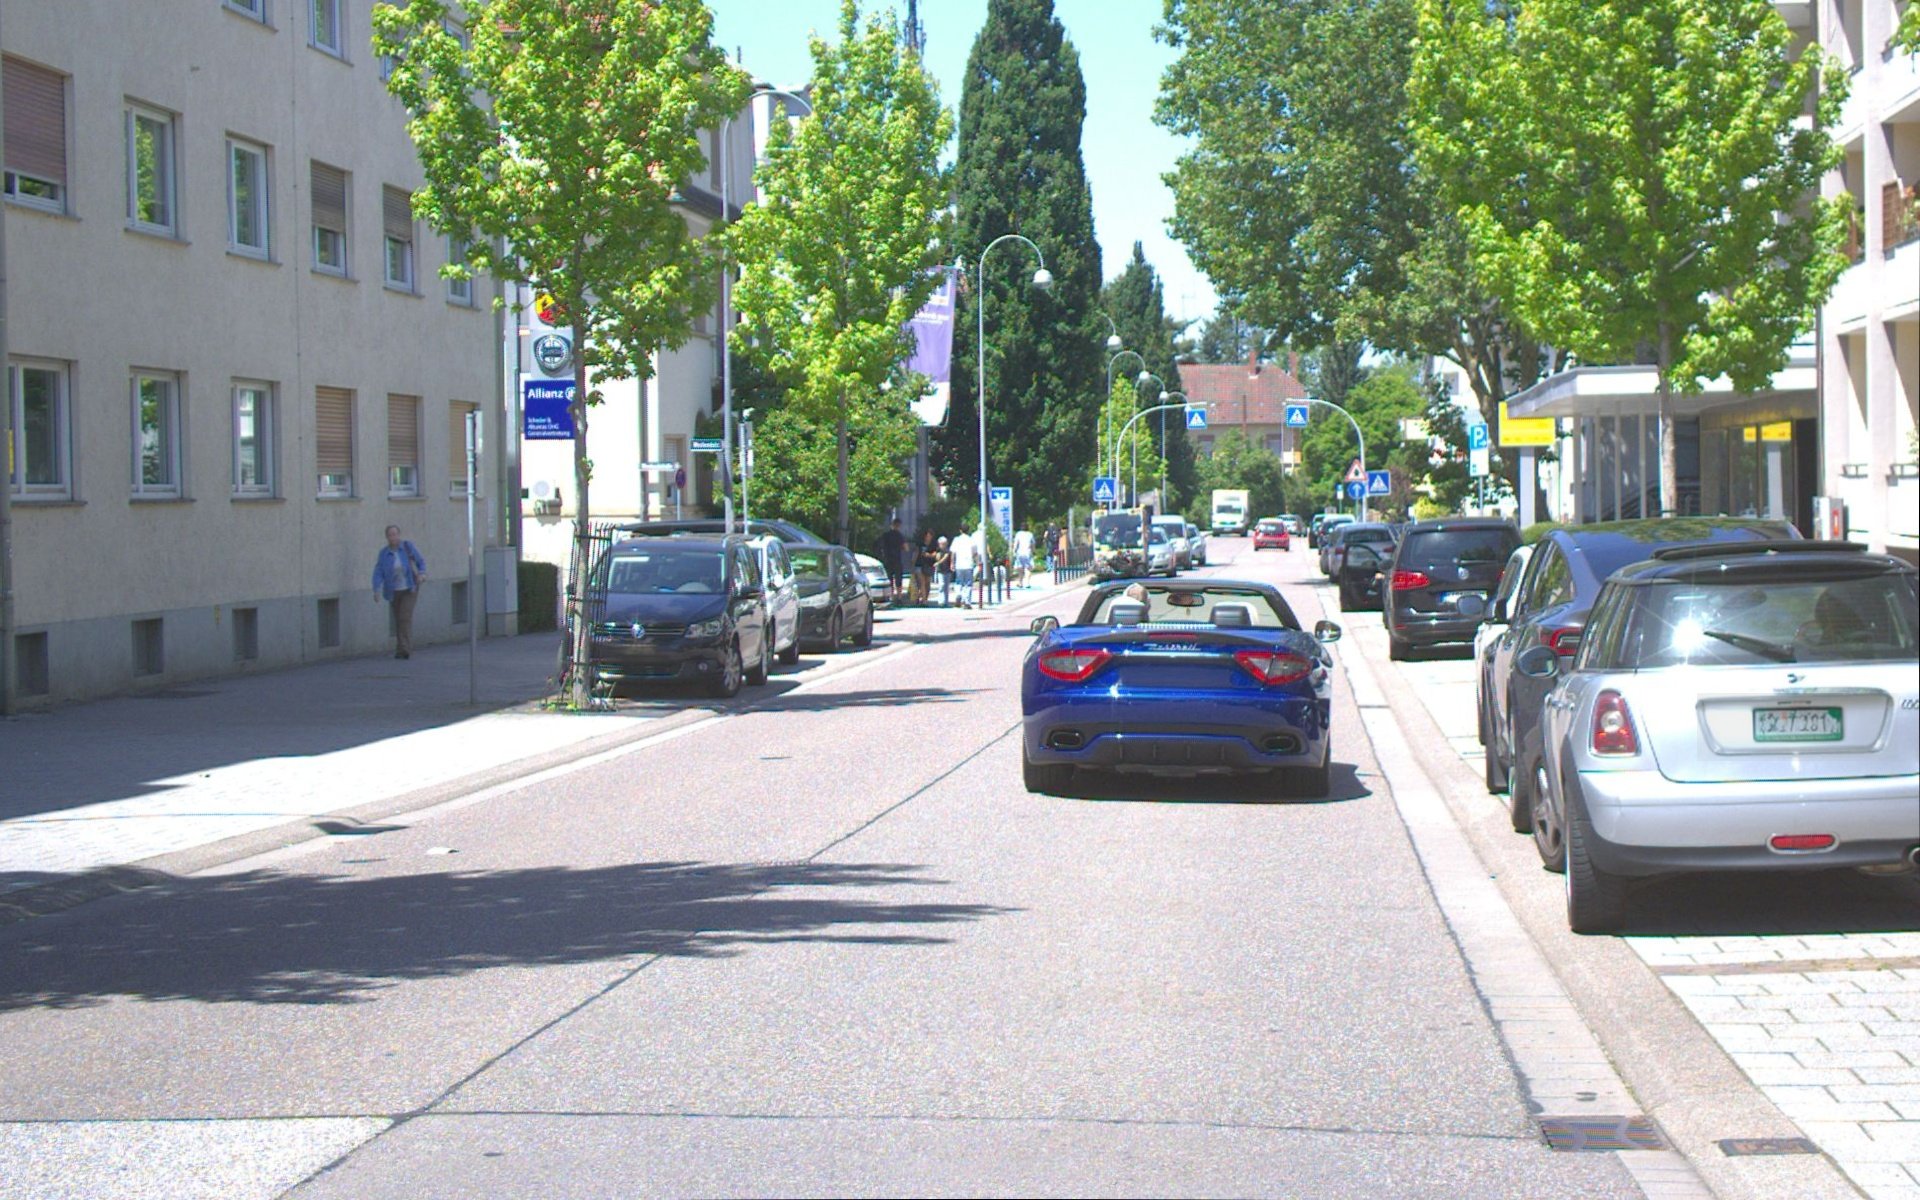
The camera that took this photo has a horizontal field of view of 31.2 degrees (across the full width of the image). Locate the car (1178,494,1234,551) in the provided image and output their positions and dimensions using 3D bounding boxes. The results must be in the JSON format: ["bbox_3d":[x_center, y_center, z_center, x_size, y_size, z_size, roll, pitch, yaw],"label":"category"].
[{"bbox_3d":[8.116,-2.579,113.452,1.770,1.761,4.137,-2,2,4],"label":"car"}]

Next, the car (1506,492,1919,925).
[{"bbox_3d":[3.228,0.352,14.349,1.623,1.553,3.840,-1,1,6],"label":"car"}]

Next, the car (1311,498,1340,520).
[{"bbox_3d":[25.859,-6.444,243.117,1.951,1.471,4.137,-2,1,7],"label":"car"}]

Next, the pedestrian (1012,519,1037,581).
[{"bbox_3d":[1.649,-1.273,87.811,0.587,1.569,0.781,0,1,5],"label":"pedestrian"}]

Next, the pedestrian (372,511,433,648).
[{"bbox_3d":[-7.050,-0.272,43.463,0.655,1.674,0.632,-3,3,-12],"label":"pedestrian"}]

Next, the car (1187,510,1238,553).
[{"bbox_3d":[9.211,-2.510,125.168,1.770,1.471,4.137,-2,1,5],"label":"car"}]

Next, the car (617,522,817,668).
[{"bbox_3d":[-2.916,-0.108,42.121,1.824,1.614,4.392,1,2,4],"label":"car"}]

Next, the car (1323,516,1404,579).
[{"bbox_3d":[10.432,-1.374,89.118,1.976,1.445,4.349,-2,2,6],"label":"car"}]

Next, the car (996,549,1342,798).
[{"bbox_3d":[1.377,0.419,22.326,1.976,1.393,4.626,2,0,4],"label":"car"}]

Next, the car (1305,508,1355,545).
[{"bbox_3d":[15.680,-3.129,145.794,1.951,1.471,4.137,-2,1,5],"label":"car"}]

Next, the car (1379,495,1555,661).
[{"bbox_3d":[6.257,-0.328,42.714,1.994,1.792,4.568,-2,3,7],"label":"car"}]

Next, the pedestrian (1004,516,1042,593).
[{"bbox_3d":[1.621,-1.161,87.812,0.849,1.909,0.761,-2,3,5],"label":"pedestrian"}]

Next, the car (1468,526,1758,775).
[{"bbox_3d":[4.573,0.290,24.554,1.723,1.578,4.224,-2,1,7],"label":"car"}]

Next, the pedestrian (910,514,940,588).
[{"bbox_3d":[-0.710,-0.994,69.392,0.579,1.469,0.564,0,1,0],"label":"pedestrian"}]

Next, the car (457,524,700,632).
[{"bbox_3d":[-6.809,-0.409,61.603,4.060,1.816,1.760,1,1,4],"label":"car"}]

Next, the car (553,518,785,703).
[{"bbox_3d":[-3.013,0.052,36.448,1.729,1.734,4.392,2,2,4],"label":"car"}]

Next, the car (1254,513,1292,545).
[{"bbox_3d":[14.686,-3.340,161.387,1.770,1.471,4.137,0,1,5],"label":"car"}]

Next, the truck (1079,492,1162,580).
[{"bbox_3d":[4.114,-1.663,87.632,1.805,2.110,4.714,-2,2,6],"label":"truck"}]

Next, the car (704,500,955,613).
[{"bbox_3d":[-2.416,-0.768,62.363,1.907,1.916,4.904,-3,1,-40],"label":"car"}]

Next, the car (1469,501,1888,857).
[{"bbox_3d":[3.870,0.338,19.214,1.764,1.700,4.705,-2,1,6],"label":"car"}]

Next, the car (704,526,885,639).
[{"bbox_3d":[-2.268,-0.280,48.288,1.755,1.469,4.320,1,2,8],"label":"car"}]
